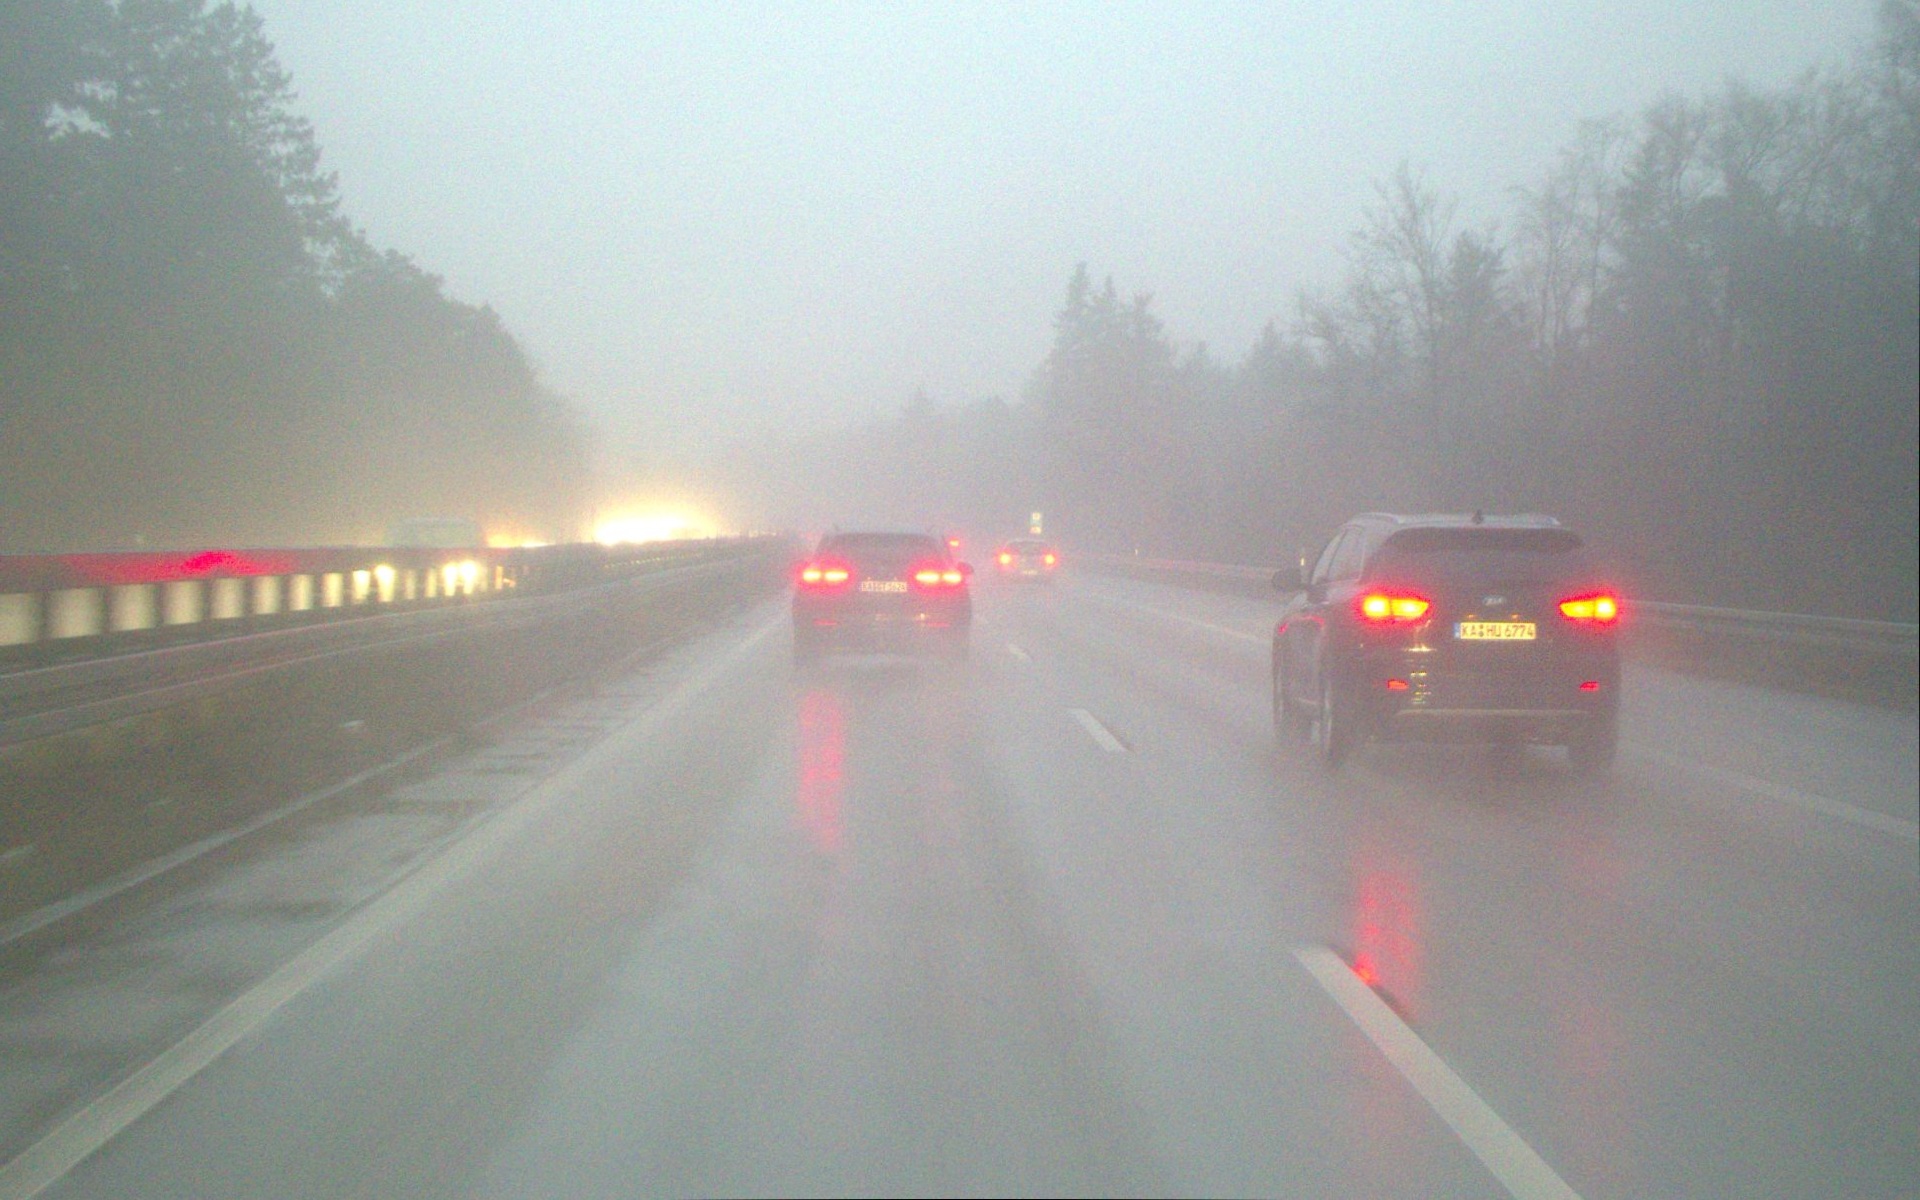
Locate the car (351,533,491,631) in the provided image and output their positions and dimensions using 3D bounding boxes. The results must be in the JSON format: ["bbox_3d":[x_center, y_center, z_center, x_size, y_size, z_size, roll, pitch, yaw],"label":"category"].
[{"bbox_3d":[-8.993,-0.326,57.634,1.809,1.561,4.000,1,1,-2],"label":"car"}]

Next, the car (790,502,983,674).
[{"bbox_3d":[-0.806,-0.162,37.766,1.986,1.761,4.174,-1,1,-1],"label":"car"}]

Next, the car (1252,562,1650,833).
[{"bbox_3d":[3.356,0.604,24.396,2.070,1.692,4.461,1,1,-1],"label":"car"}]
